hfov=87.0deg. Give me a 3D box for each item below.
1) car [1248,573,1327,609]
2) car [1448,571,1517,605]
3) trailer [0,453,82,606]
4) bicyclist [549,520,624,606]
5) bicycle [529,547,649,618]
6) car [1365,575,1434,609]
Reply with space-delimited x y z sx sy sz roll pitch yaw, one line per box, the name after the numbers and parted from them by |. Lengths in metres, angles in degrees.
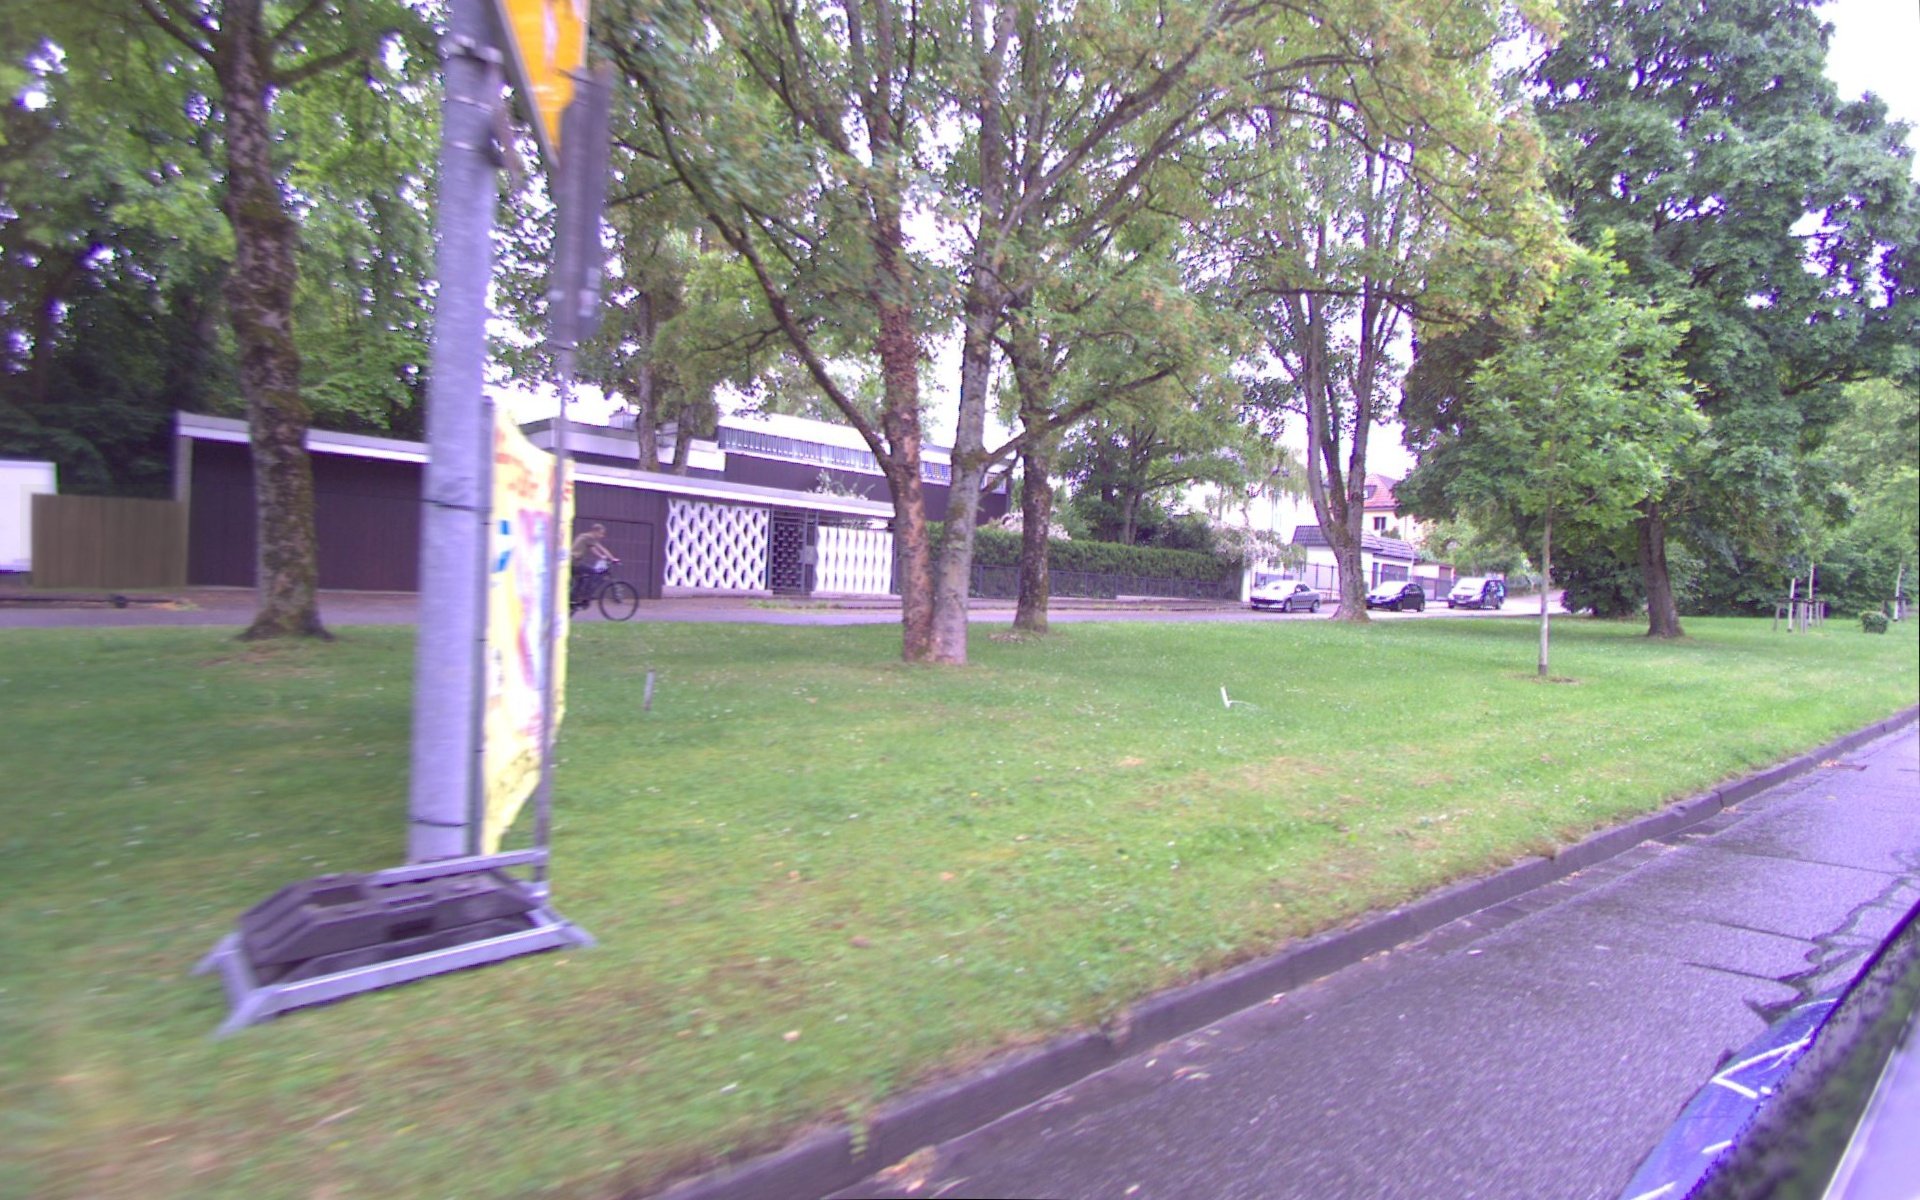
14.162 -0.394 43.668 3.648 1.392 1.684 -1 5 -44 | car
31.477 -0.736 60.896 4.987 1.901 2.162 -1 4 -44 | car
-14.685 -1.044 14.611 1.437 2.181 2.903 3 2 44 | trailer
-6.371 -0.623 17.263 0.982 1.408 0.746 0 2 -41 | bicyclist
-6.315 -0.301 17.295 1.831 1.152 0.596 0 2 -41 | bicycle
22.704 -0.438 52.223 3.969 1.644 1.904 -1 4 -44 | car
